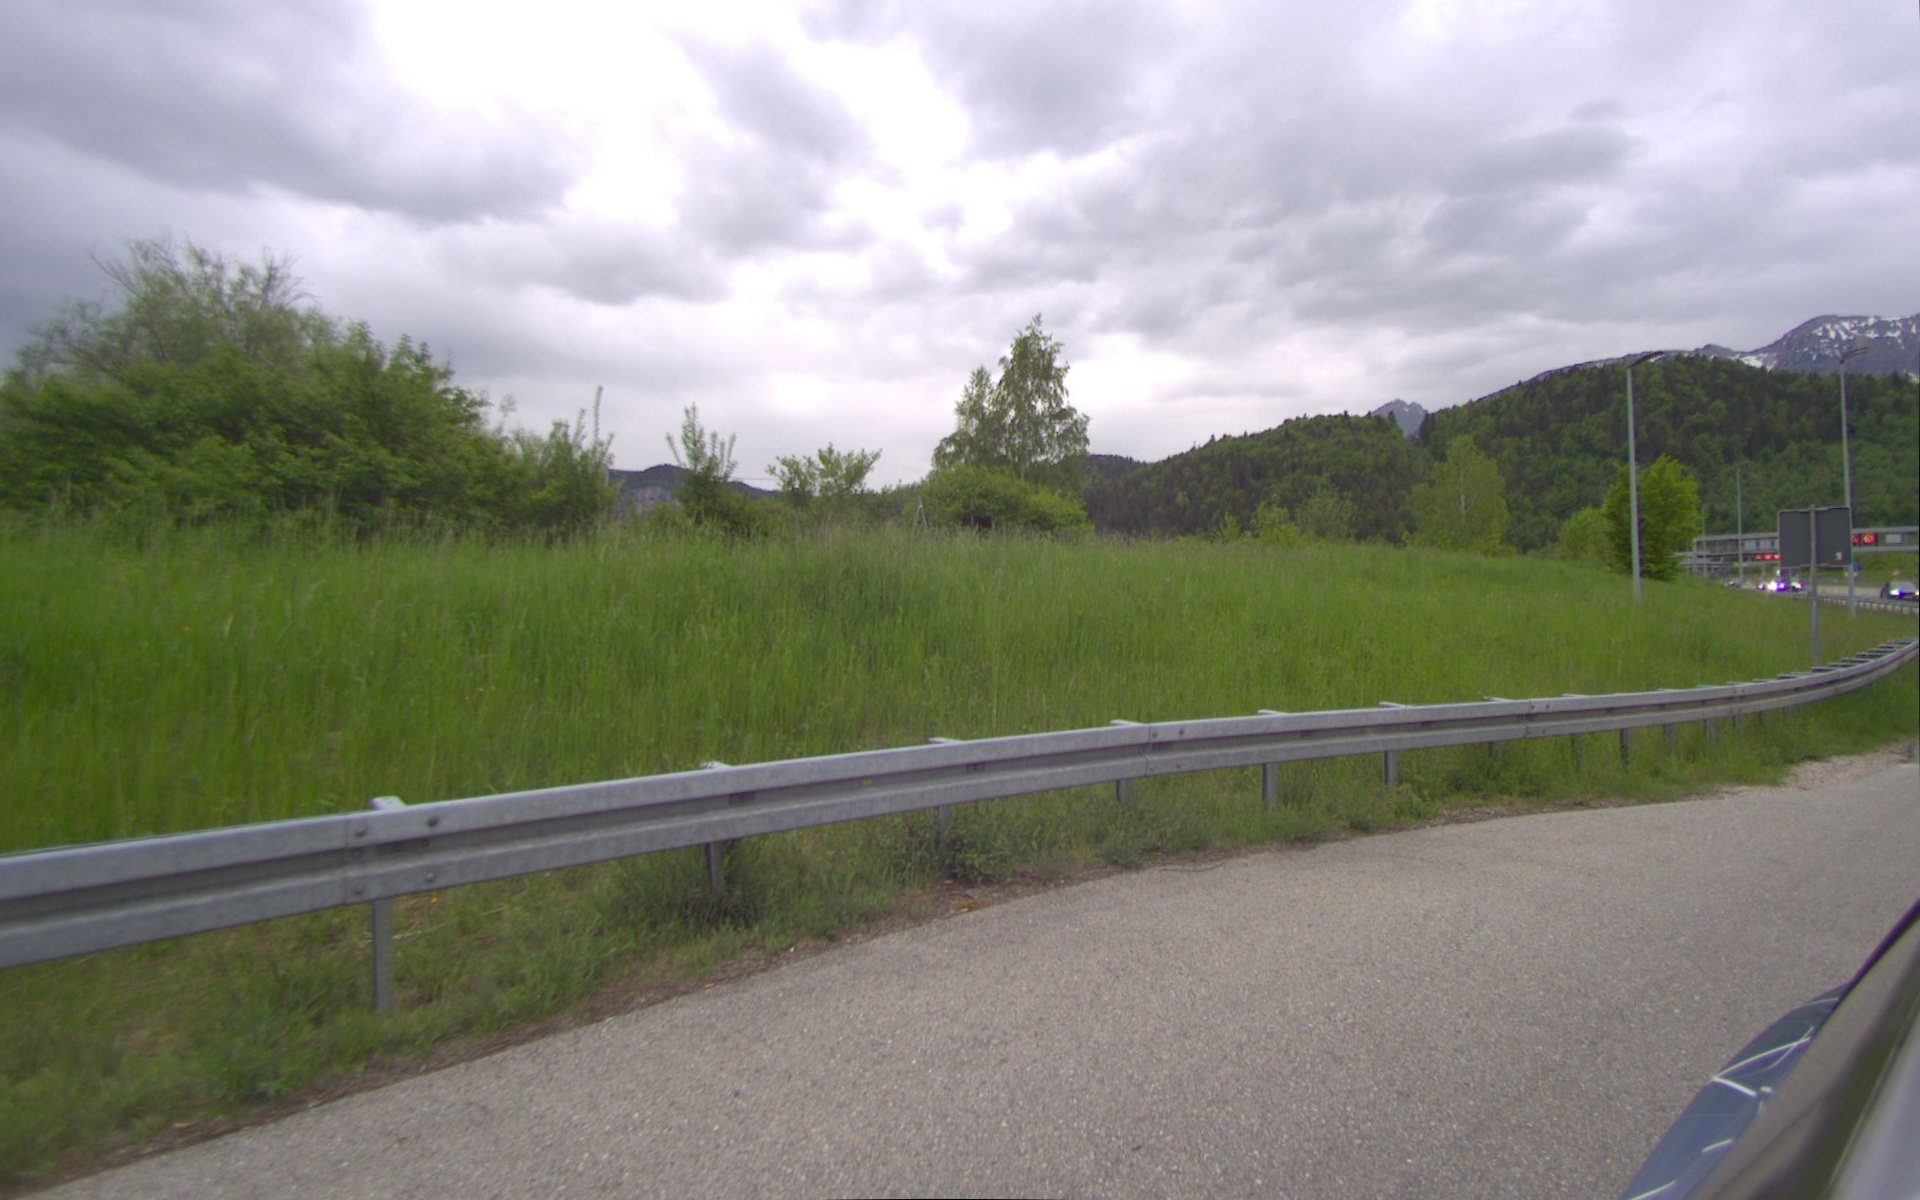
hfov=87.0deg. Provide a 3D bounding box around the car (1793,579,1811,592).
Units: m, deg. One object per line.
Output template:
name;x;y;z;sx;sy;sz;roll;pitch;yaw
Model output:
car;107.662;-1.875;129.387;1.623;1.719;3.448;1;1;38

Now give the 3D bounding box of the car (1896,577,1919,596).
car;68.281;-0.960;72.229;1.654;1.354;3.745;1;1;34

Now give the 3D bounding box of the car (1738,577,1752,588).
car;152.670;-3.383;196.771;1.987;2.039;3.950;1;1;35

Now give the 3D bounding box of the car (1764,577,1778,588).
car;123.569;-2.686;154.154;1.623;1.719;3.448;1;1;38
